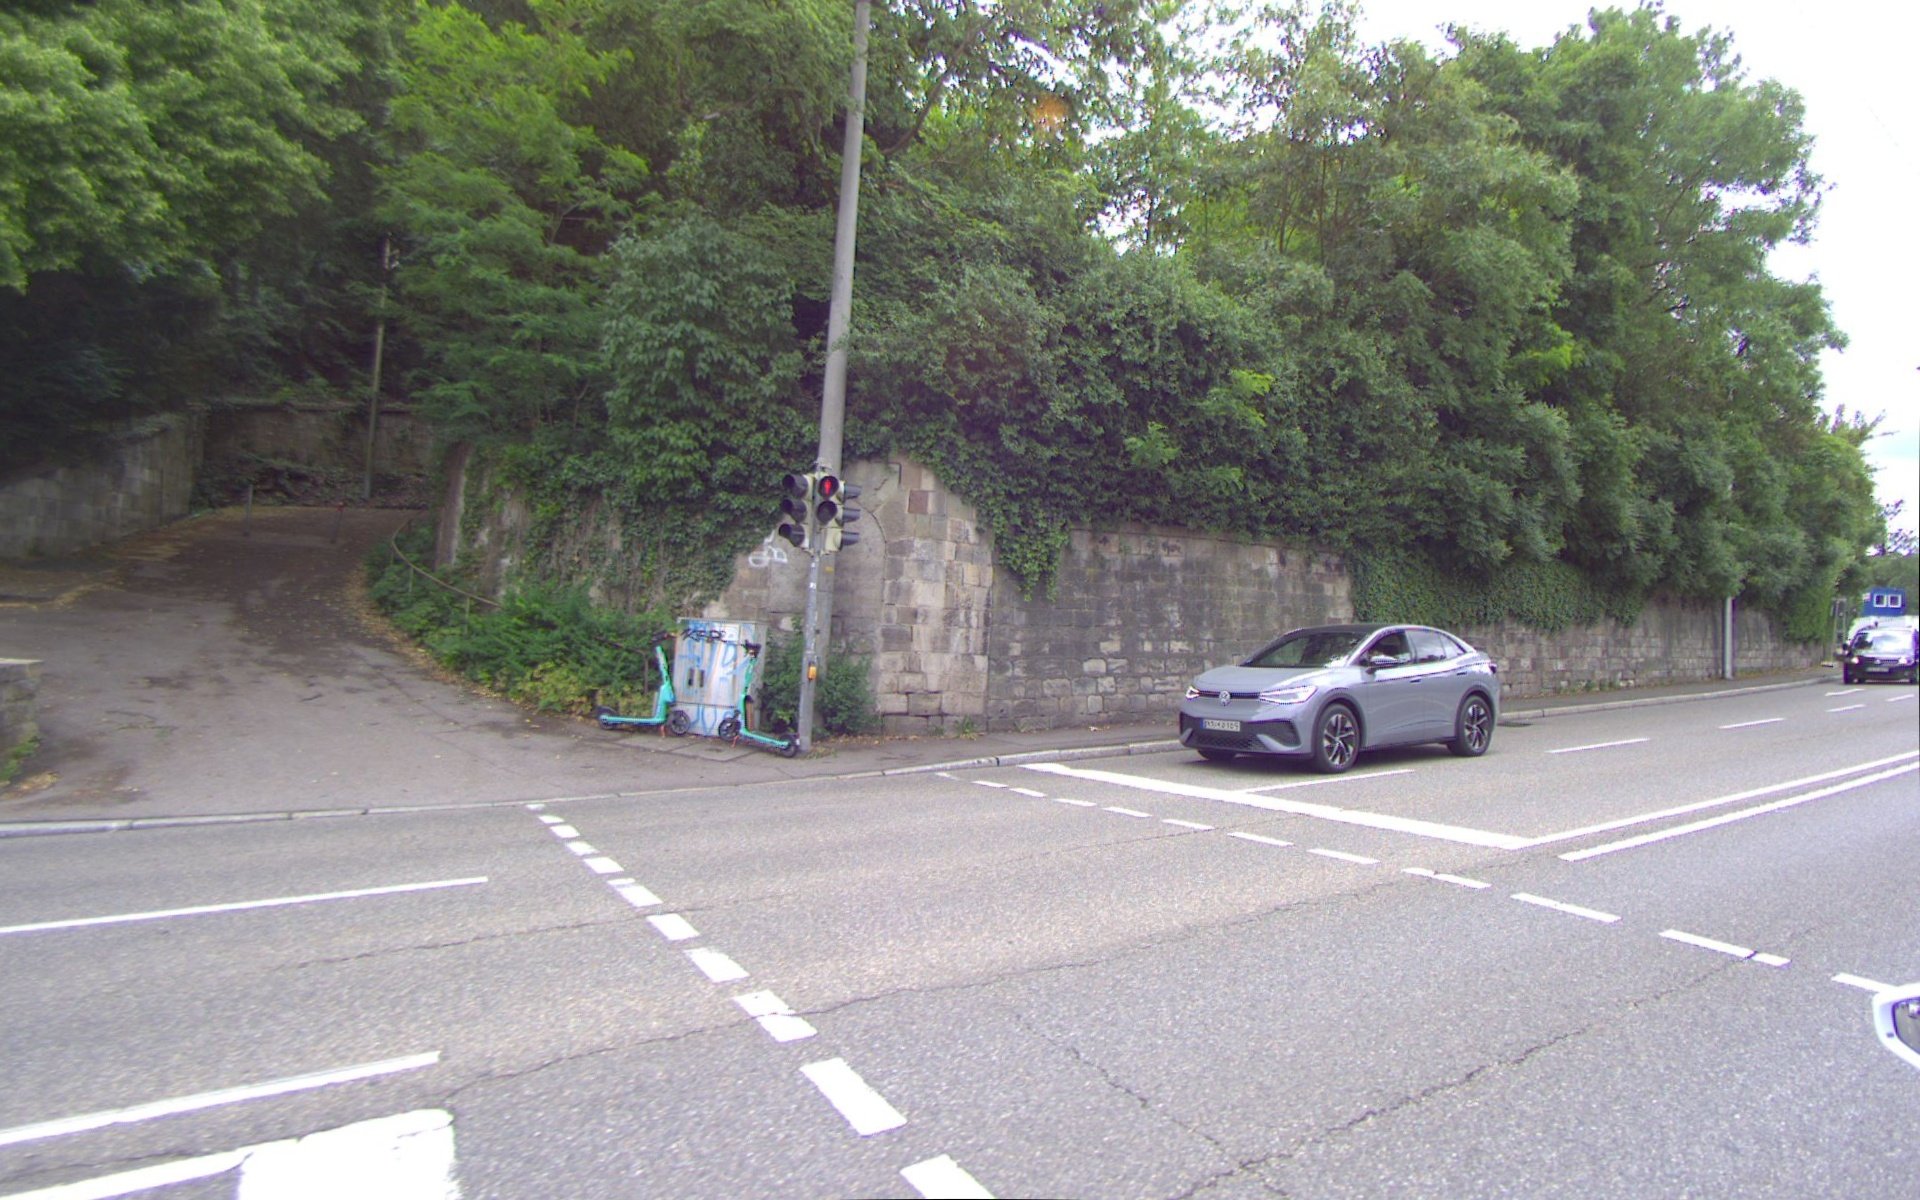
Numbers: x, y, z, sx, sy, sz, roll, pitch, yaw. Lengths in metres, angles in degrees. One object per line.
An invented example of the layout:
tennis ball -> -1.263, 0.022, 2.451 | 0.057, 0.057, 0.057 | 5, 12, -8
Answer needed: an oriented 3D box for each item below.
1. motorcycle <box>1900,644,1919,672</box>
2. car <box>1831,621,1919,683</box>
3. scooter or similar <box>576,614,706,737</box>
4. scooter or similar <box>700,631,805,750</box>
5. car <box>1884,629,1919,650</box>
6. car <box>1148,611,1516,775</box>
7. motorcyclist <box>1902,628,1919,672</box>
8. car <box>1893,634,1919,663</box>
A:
motorcycle -> 38.396, 2.327, 40.293 | 2.287, 1.088, 0.645 | 2, -3, -38
car -> 29.485, 1.643, 31.973 | 4.208, 1.869, 1.732 | 2, -4, -36
scooter or similar -> -3.849, 0.895, 12.134 | 1.323, 1.253, 0.434 | 8, 4, 9
scooter or similar -> -2.437, 1.044, 11.816 | 1.076, 1.254, 0.434 | 4, 2, 16
car -> 80.113, 3.298, 85.118 | 1.814, 1.722, 3.992 | 0, -1, 30
car -> 4.561, 1.033, 12.108 | 4.431, 1.628, 1.981 | 2, -4, -35
motorcyclist -> 38.269, 2.003, 40.181 | 1.326, 1.727, 0.644 | 2, -3, -38
car -> 49.536, 2.506, 51.960 | 1.764, 1.485, 4.077 | -3, -4, 44
